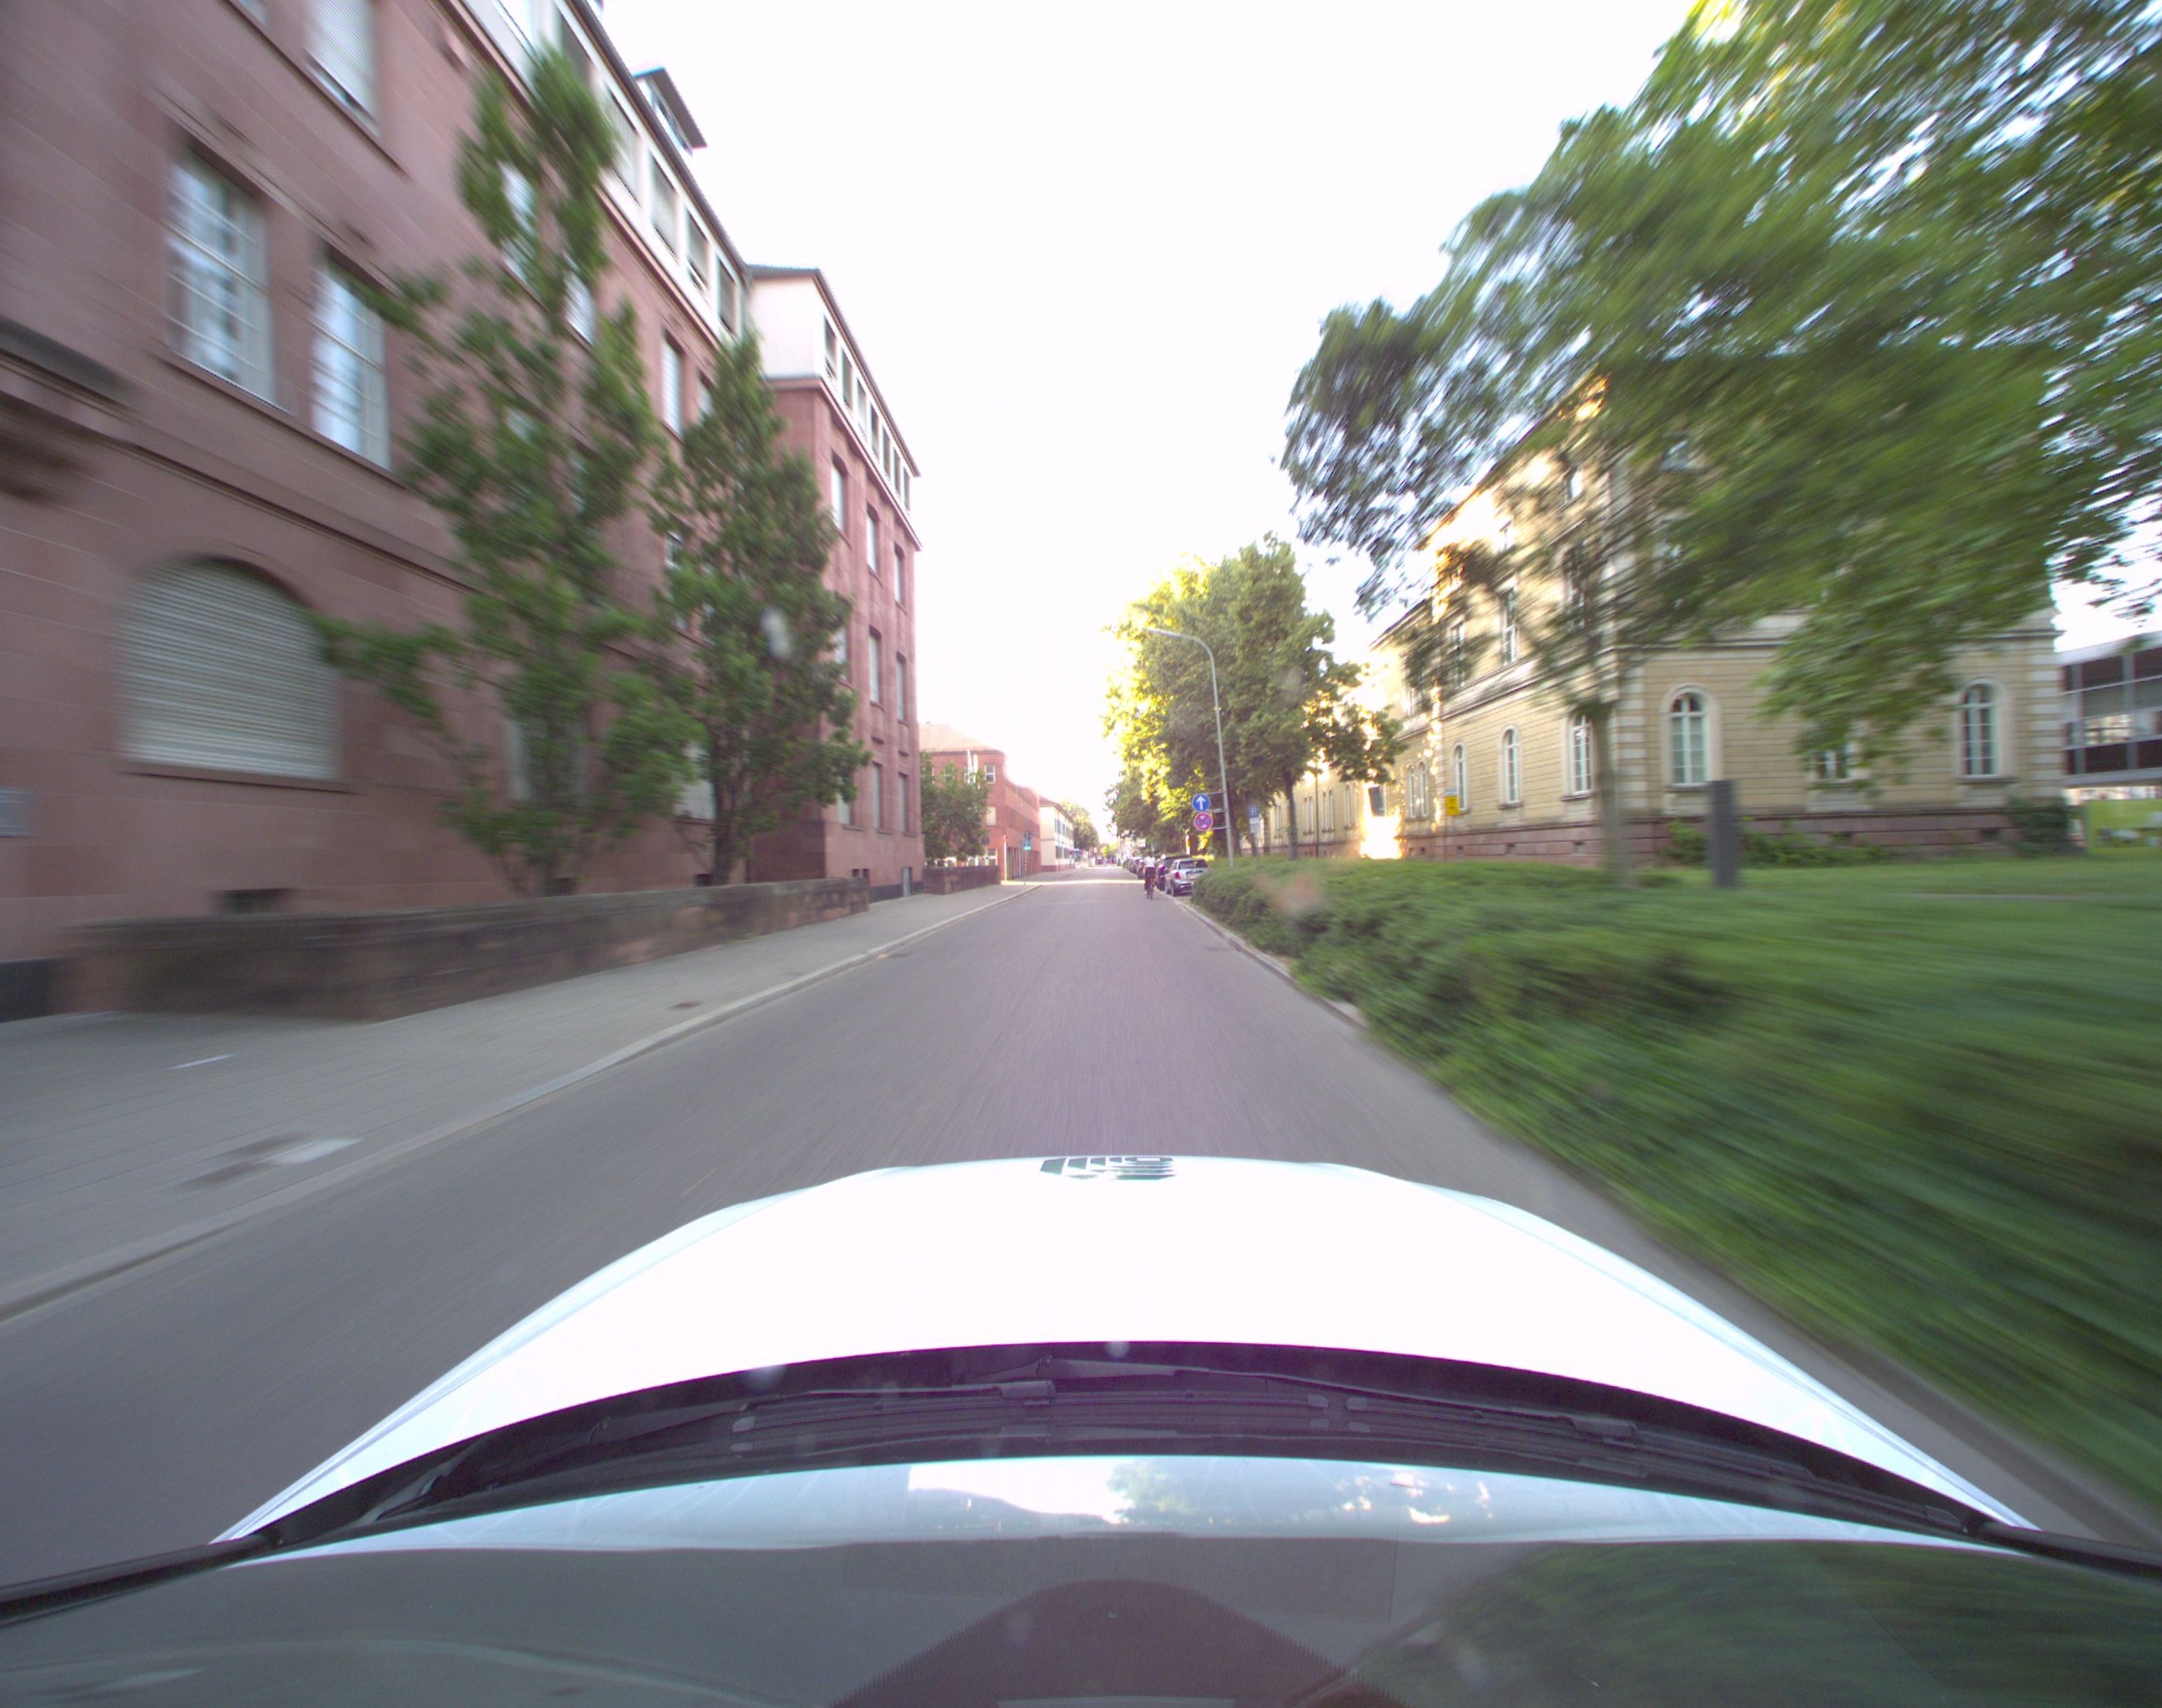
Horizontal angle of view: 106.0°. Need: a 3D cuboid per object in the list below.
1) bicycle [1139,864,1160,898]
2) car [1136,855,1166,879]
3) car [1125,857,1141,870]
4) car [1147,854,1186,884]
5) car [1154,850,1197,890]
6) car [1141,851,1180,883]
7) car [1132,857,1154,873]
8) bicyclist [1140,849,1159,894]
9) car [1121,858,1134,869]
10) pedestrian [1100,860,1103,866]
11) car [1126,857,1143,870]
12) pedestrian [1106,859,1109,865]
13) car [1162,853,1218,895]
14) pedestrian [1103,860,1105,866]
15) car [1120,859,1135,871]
[{"bbox_3d":[2.558,0.988,30.377,0.636,1.193,1.876,0,0,0],"label":"bicycle"},{"bbox_3d":[5.307,0.975,62.132,1.986,1.706,4.001,-3,-1,1],"label":"car"},{"bbox_3d":[7.658,1.413,120.353,1.986,1.749,4.001,-3,-1,1],"label":"car"},{"bbox_3d":[4.665,0.792,45.048,1.710,1.538,4.048,-2,0,0],"label":"car"},{"bbox_3d":[4.443,0.719,38.890,1.709,1.712,4.476,-2,0,3],"label":"car"},{"bbox_3d":[4.801,0.766,49.534,1.986,1.816,4.001,-2,-1,1],"label":"car"},{"bbox_3d":[6.397,1.133,84.079,1.986,1.585,4.001,-3,-1,1],"label":"car"},{"bbox_3d":[2.555,0.646,30.419,0.637,1.667,0.842,0,-1,0],"label":"bicyclist"},{"bbox_3d":[9.687,1.981,170.572,2.484,2.196,4.910,-3,-1,1],"label":"car"},{"bbox_3d":[5.021,2.194,200.320,0.532,1.472,0.448,-2,-1,0],"label":"pedestrian"},{"bbox_3d":[7.165,1.303,108.882,1.986,1.629,4.001,-3,-1,1],"label":"car"},{"bbox_3d":[6.375,1.958,197.678,0.532,1.472,0.448,-2,-1,0],"label":"pedestrian"},{"bbox_3d":[4.295,0.781,32.504,1.680,1.447,3.671,-4,-1,0],"label":"car"},{"bbox_3d":[5.588,2.161,197.845,0.532,1.472,0.448,-2,-1,0],"label":"pedestrian"},{"bbox_3d":[8.158,1.929,142.597,2.273,1.854,4.910,-3,-1,1],"label":"car"}]
